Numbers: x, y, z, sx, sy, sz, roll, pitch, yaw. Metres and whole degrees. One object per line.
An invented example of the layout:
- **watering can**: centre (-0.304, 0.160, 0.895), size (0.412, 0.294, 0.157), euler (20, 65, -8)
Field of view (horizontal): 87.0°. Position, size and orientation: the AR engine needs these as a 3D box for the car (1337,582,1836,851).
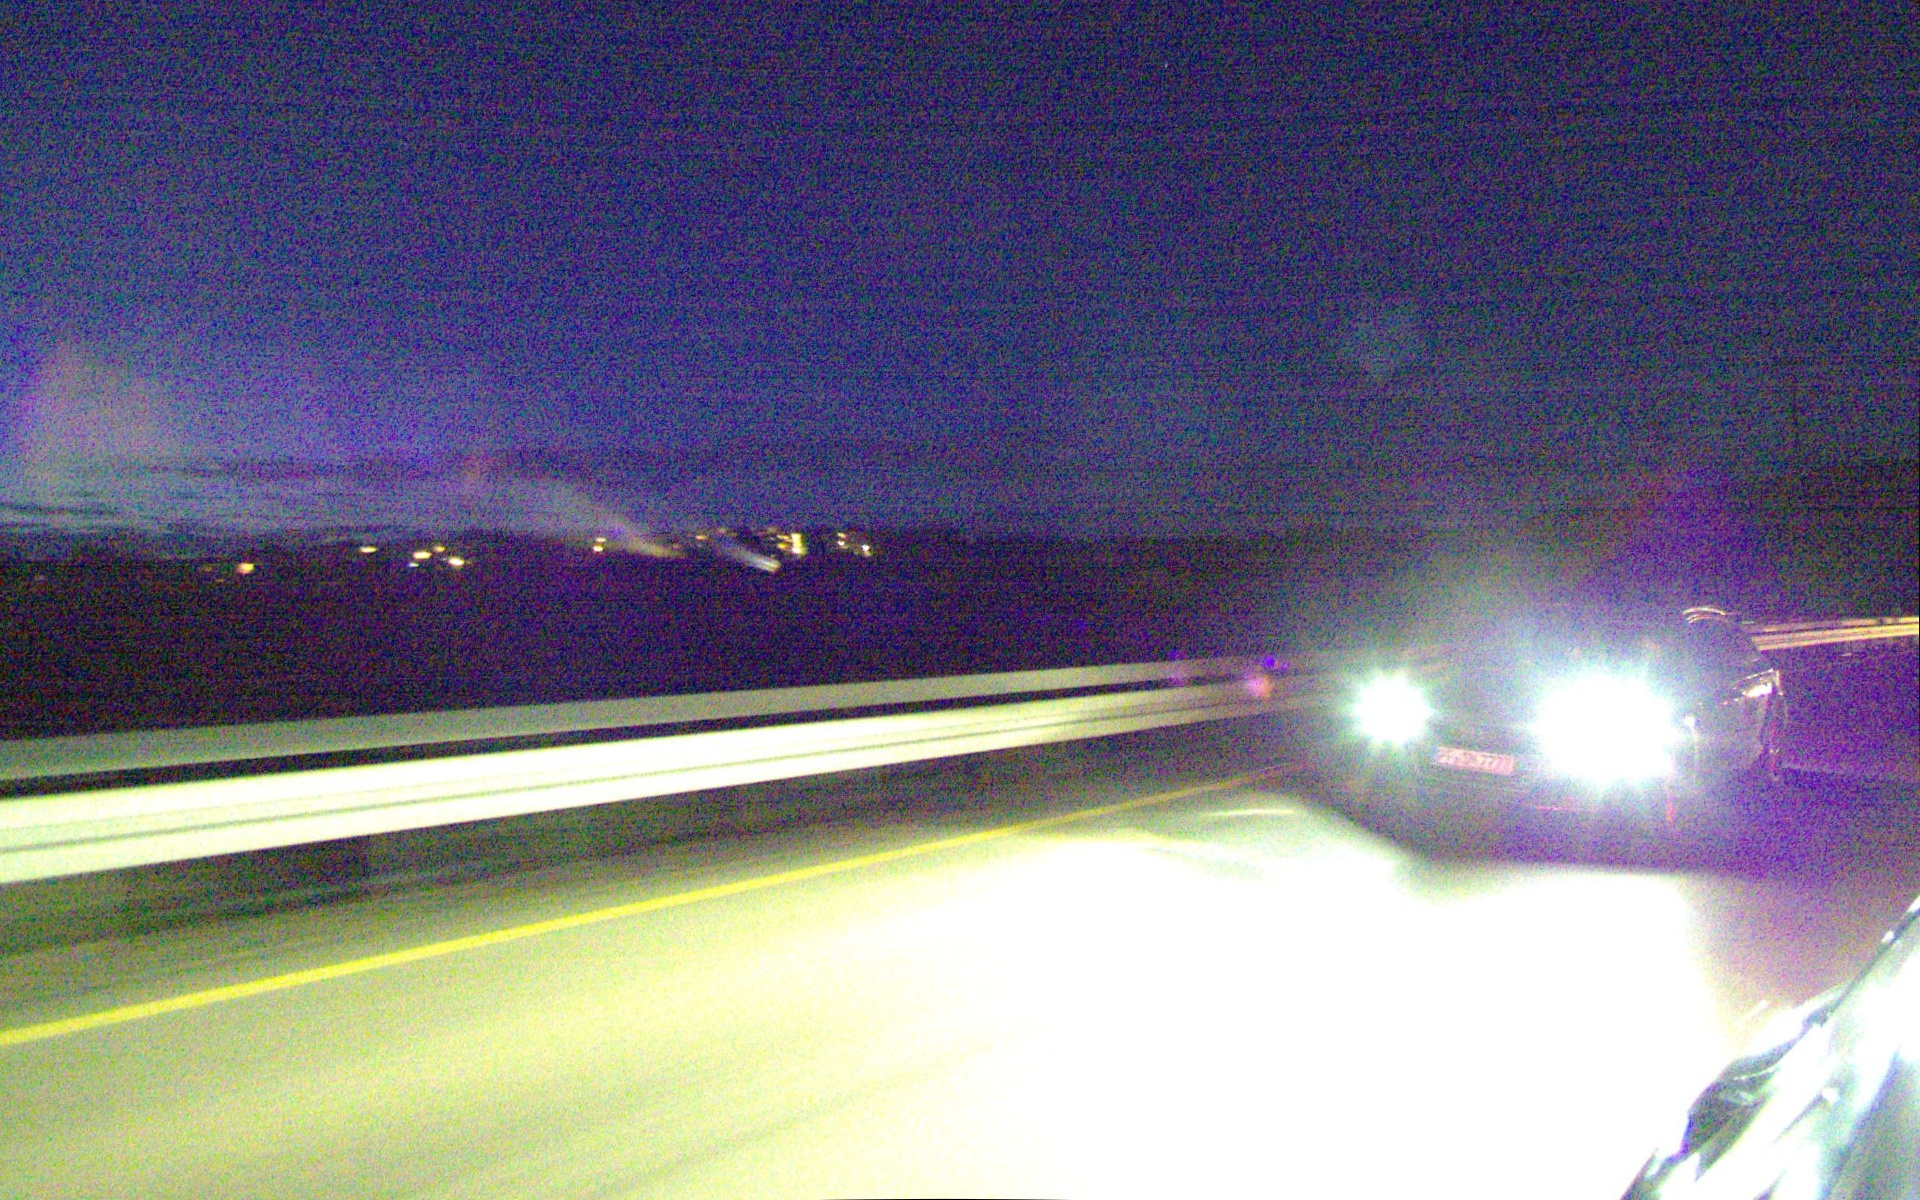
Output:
- **car**: centre (5.069, 0.646, 7.872), size (4.787, 1.444, 1.813), euler (0, 2, -39)
